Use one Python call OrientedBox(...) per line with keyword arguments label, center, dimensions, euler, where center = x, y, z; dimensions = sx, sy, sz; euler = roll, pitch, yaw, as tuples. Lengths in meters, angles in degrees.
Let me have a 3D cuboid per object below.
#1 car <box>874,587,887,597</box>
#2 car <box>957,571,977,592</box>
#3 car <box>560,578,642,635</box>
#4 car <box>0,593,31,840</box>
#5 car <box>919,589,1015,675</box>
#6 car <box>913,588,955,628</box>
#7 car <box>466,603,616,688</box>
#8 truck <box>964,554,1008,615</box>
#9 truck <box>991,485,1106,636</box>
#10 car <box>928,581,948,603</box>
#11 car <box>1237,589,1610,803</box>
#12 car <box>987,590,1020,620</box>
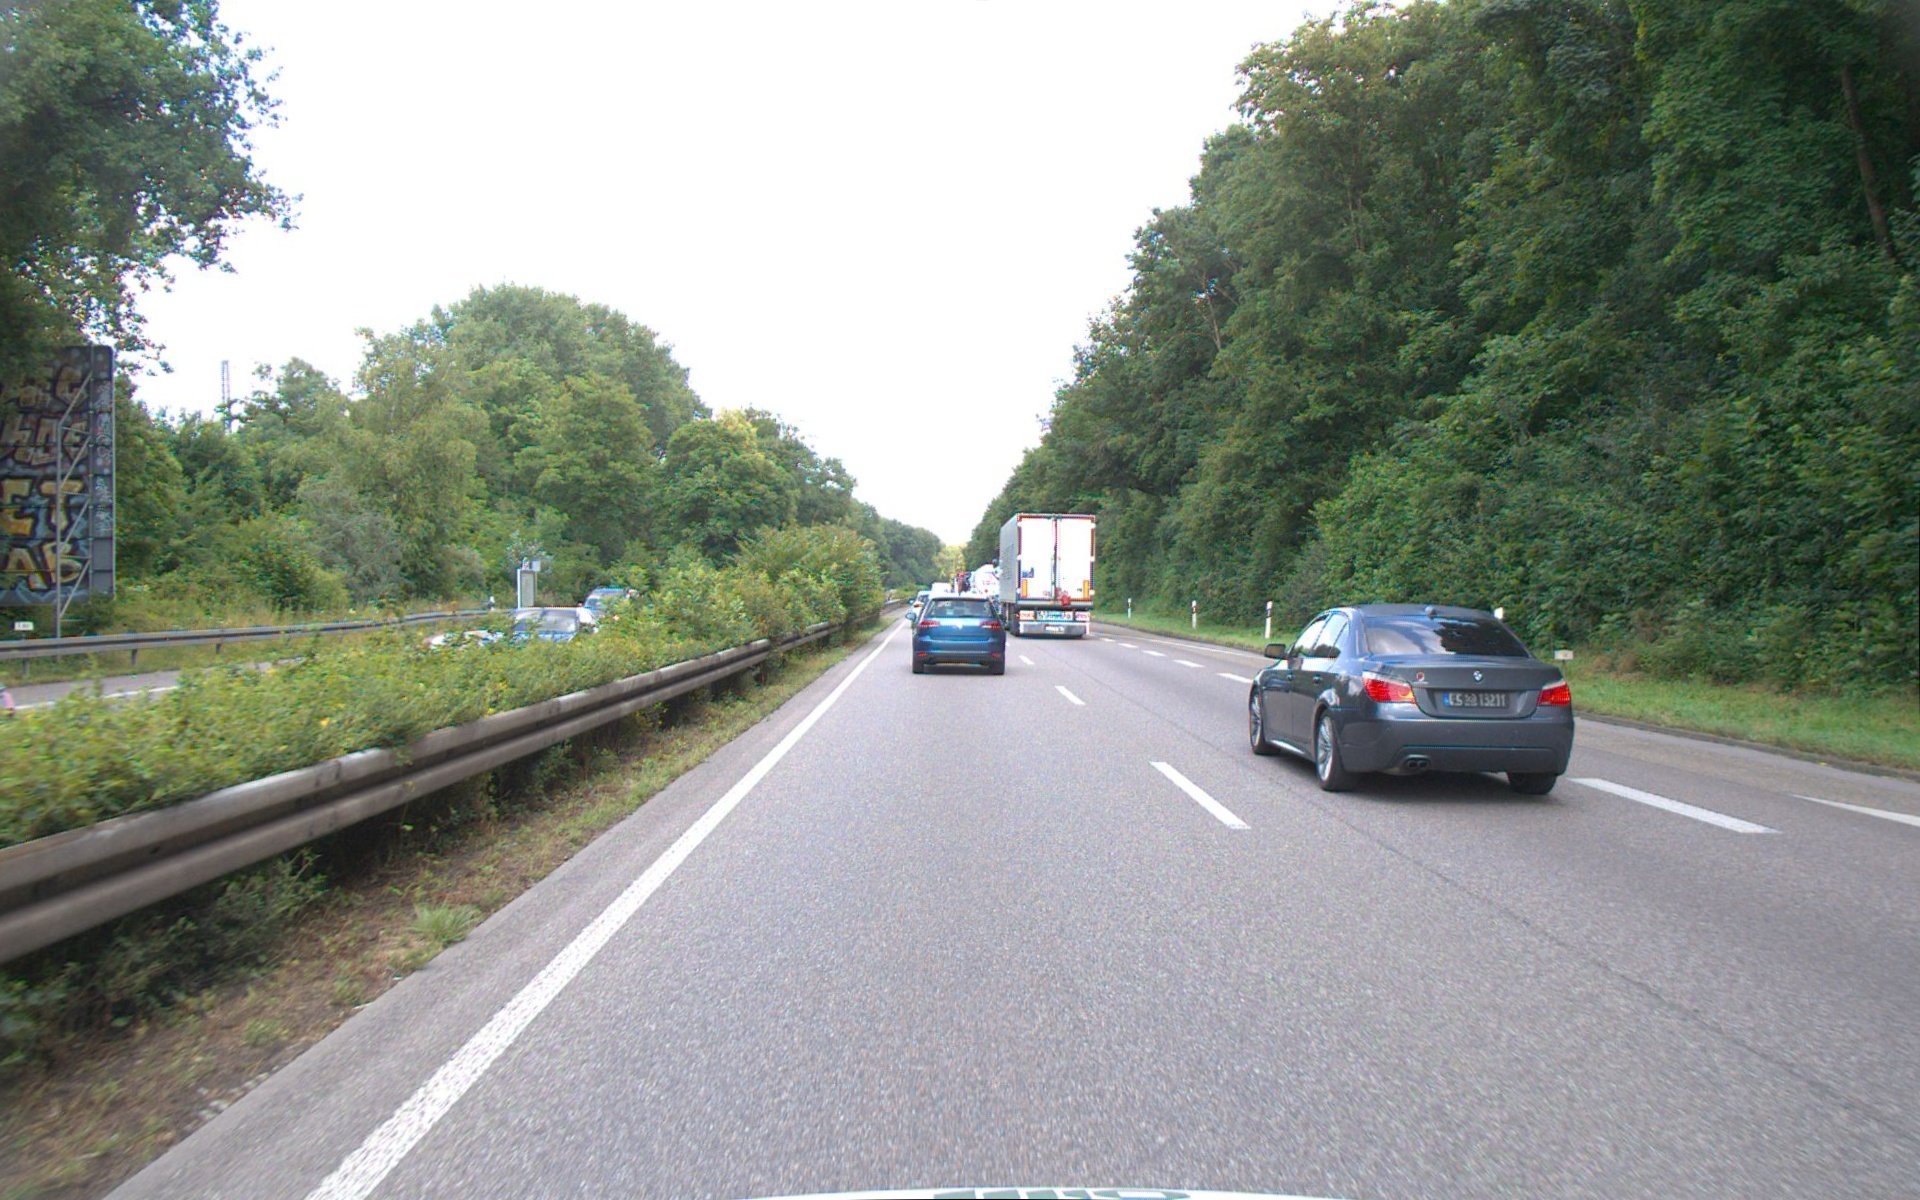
OrientedBox(label="car", center=(-11.316, -1.136, 235.498), dimensions=(1.644, 1.480, 4.127), euler=(0, 0, 0))
OrientedBox(label="car", center=(0.757, -2.083, 188.851), dimensions=(1.954, 2.368, 4.439), euler=(0, 1, -3))
OrientedBox(label="car", center=(-12.478, 0.205, 57.709), dimensions=(1.953, 1.902, 4.276), euler=(0, 0, -1))
OrientedBox(label="car", center=(-7.277, 0.799, 9.484), dimensions=(1.681, 1.659, 3.999), euler=(0, 0, -1))
OrientedBox(label="car", center=(0.077, 0.559, 31.361), dimensions=(1.670, 1.495, 3.999), euler=(1, 0, -1))
OrientedBox(label="car", center=(-1.038, 0.292, 66.658), dimensions=(1.631, 1.526, 4.151), euler=(1, 0, -1))
OrientedBox(label="car", center=(-8.017, 0.821, 32.077), dimensions=(1.748, 1.457, 4.716), euler=(1, 0, -1))
OrientedBox(label="truck", center=(1.975, -1.135, 127.944), dimensions=(3.165, 4.463, 12.971), euler=(1, 0, 1))
OrientedBox(label="truck", center=(2.926, -1.322, 58.205), dimensions=(3.176, 4.798, 11.004), euler=(0, 1, -2))
OrientedBox(label="car", center=(-2.351, -0.878, 174.224), dimensions=(1.954, 2.294, 4.439), euler=(0, 0, -3))
OrientedBox(label="car", center=(3.722, 0.671, 14.252), dimensions=(1.738, 1.501, 4.879), euler=(1, 0, -1))
OrientedBox(label="car", center=(2.641, 0.292, 101.285), dimensions=(1.850, 1.759, 4.000), euler=(-1, 0, -1))
